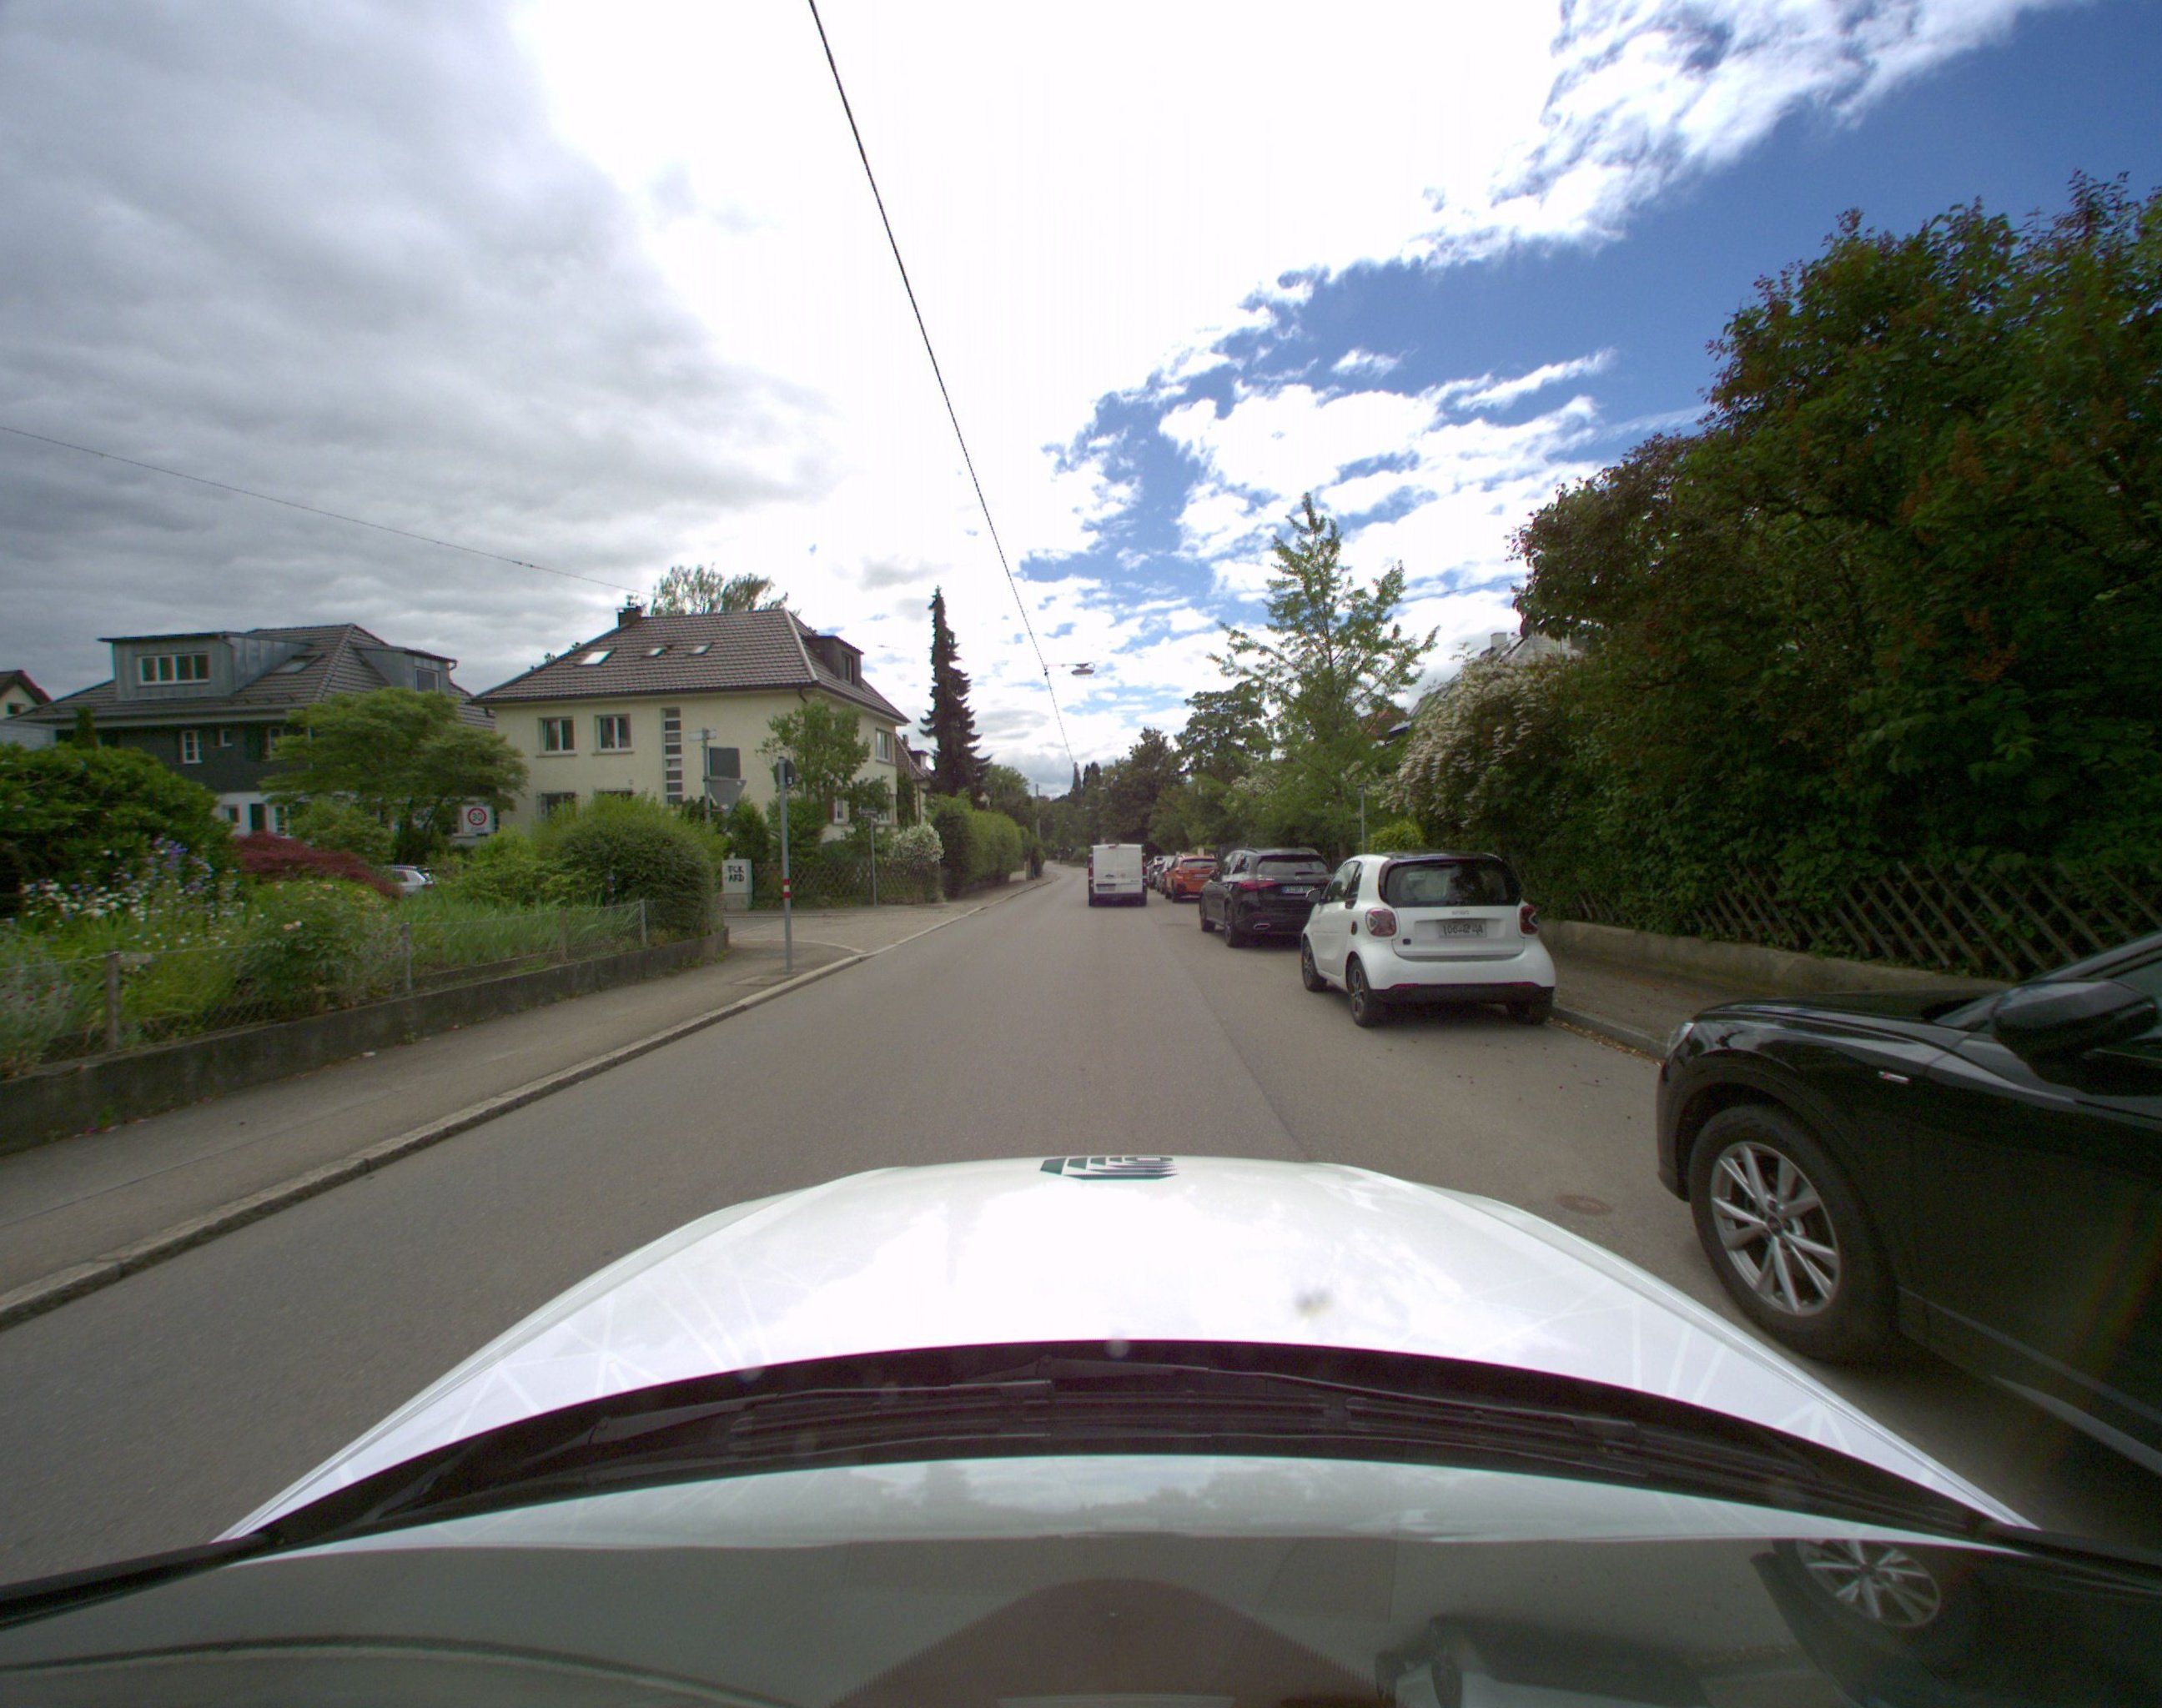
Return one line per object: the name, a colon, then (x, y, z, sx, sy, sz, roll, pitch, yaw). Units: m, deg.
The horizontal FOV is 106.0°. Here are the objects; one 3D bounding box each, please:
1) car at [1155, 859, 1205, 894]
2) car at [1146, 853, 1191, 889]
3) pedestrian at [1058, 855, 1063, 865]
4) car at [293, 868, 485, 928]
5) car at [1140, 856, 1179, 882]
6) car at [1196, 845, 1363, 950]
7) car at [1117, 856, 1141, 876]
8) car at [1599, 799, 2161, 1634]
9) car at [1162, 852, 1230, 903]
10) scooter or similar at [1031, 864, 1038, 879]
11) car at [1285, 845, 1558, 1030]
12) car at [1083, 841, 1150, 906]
car: (4.163, 0.922, 34.841, 1.710, 1.382, 4.237, -1, -1, 2)
car: (4.241, 0.818, 40.127, 1.822, 1.623, 4.493, -1, -1, 2)
pedestrian: (-3.566, 1.052, 140.307, 0.696, 1.616, 0.714, -1, 2, -5)
car: (-19.228, 1.210, 22.732, 3.967, 1.545, 1.810, -1, 0, 5)
car: (4.806, 0.901, 49.659, 2.275, 1.524, 1.320, -2, 0, 6)
car: (3.384, 0.690, 14.801, 1.944, 1.626, 4.375, 0, -1, 0)
car: (4.435, 1.094, 75.460, 1.860, 1.685, 4.348, -1, 0, -1)
car: (2.921, 0.668, 1.224, 1.793, 1.592, 4.144, -2, 0, 3)
car: (3.943, 0.772, 28.456, 1.844, 1.626, 4.169, 0, -1, 1)
scooter or similar: (-3.633, 1.386, 63.614, 0.390, 1.171, 1.270, -1, 0, 0)
car: (3.235, 0.711, 8.348, 1.592, 1.510, 3.015, -2, 0, 2)
car: (1.084, 0.589, 27.152, 1.924, 1.964, 4.399, -1, 0, -1)
